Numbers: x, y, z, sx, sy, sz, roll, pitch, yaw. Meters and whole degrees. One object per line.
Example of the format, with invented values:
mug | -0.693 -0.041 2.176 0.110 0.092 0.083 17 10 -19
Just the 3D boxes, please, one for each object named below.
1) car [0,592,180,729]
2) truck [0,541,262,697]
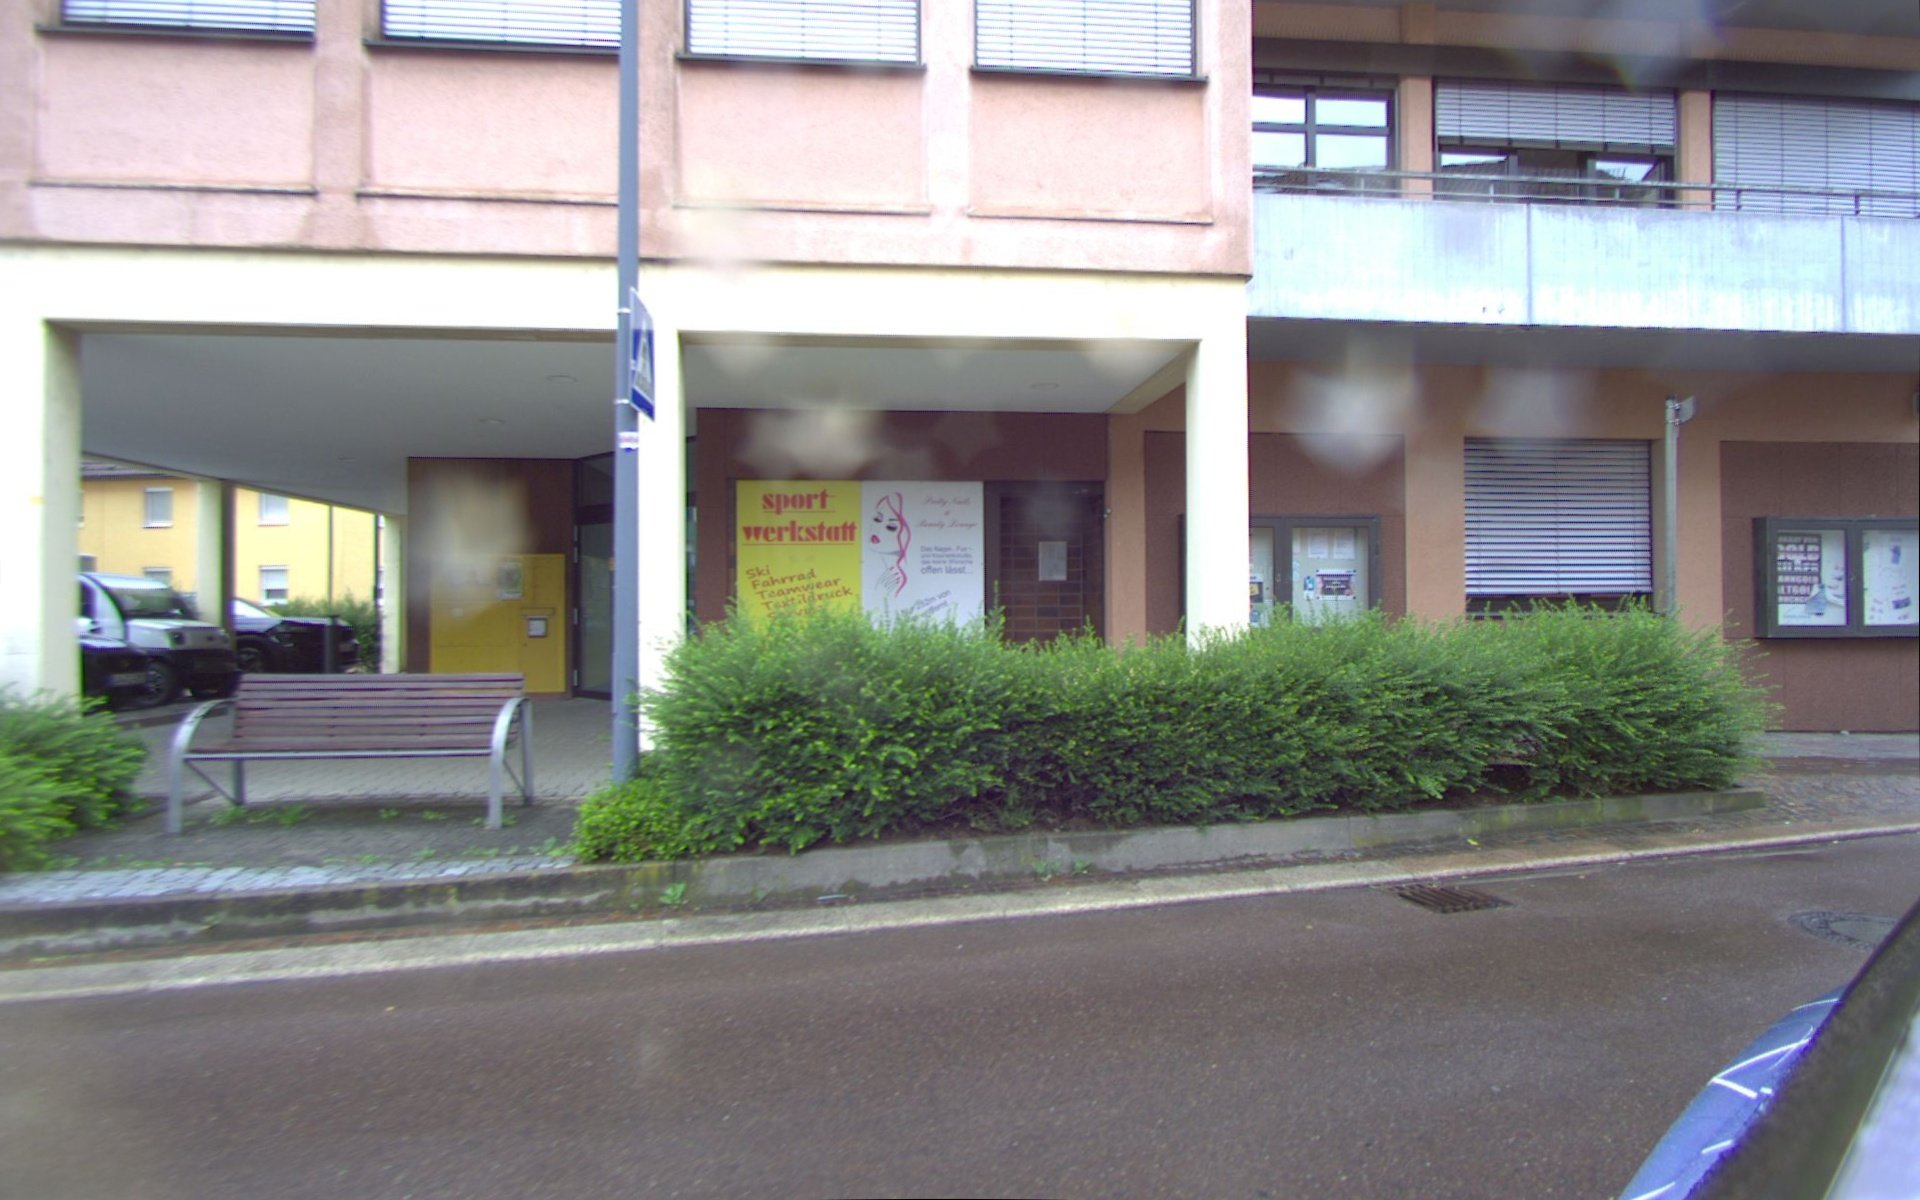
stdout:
car | -10.868 0.584 10.329 4.383 1.292 1.770 0 0 -4
truck | -11.403 0.221 12.770 3.920 1.831 1.770 0 0 -5
